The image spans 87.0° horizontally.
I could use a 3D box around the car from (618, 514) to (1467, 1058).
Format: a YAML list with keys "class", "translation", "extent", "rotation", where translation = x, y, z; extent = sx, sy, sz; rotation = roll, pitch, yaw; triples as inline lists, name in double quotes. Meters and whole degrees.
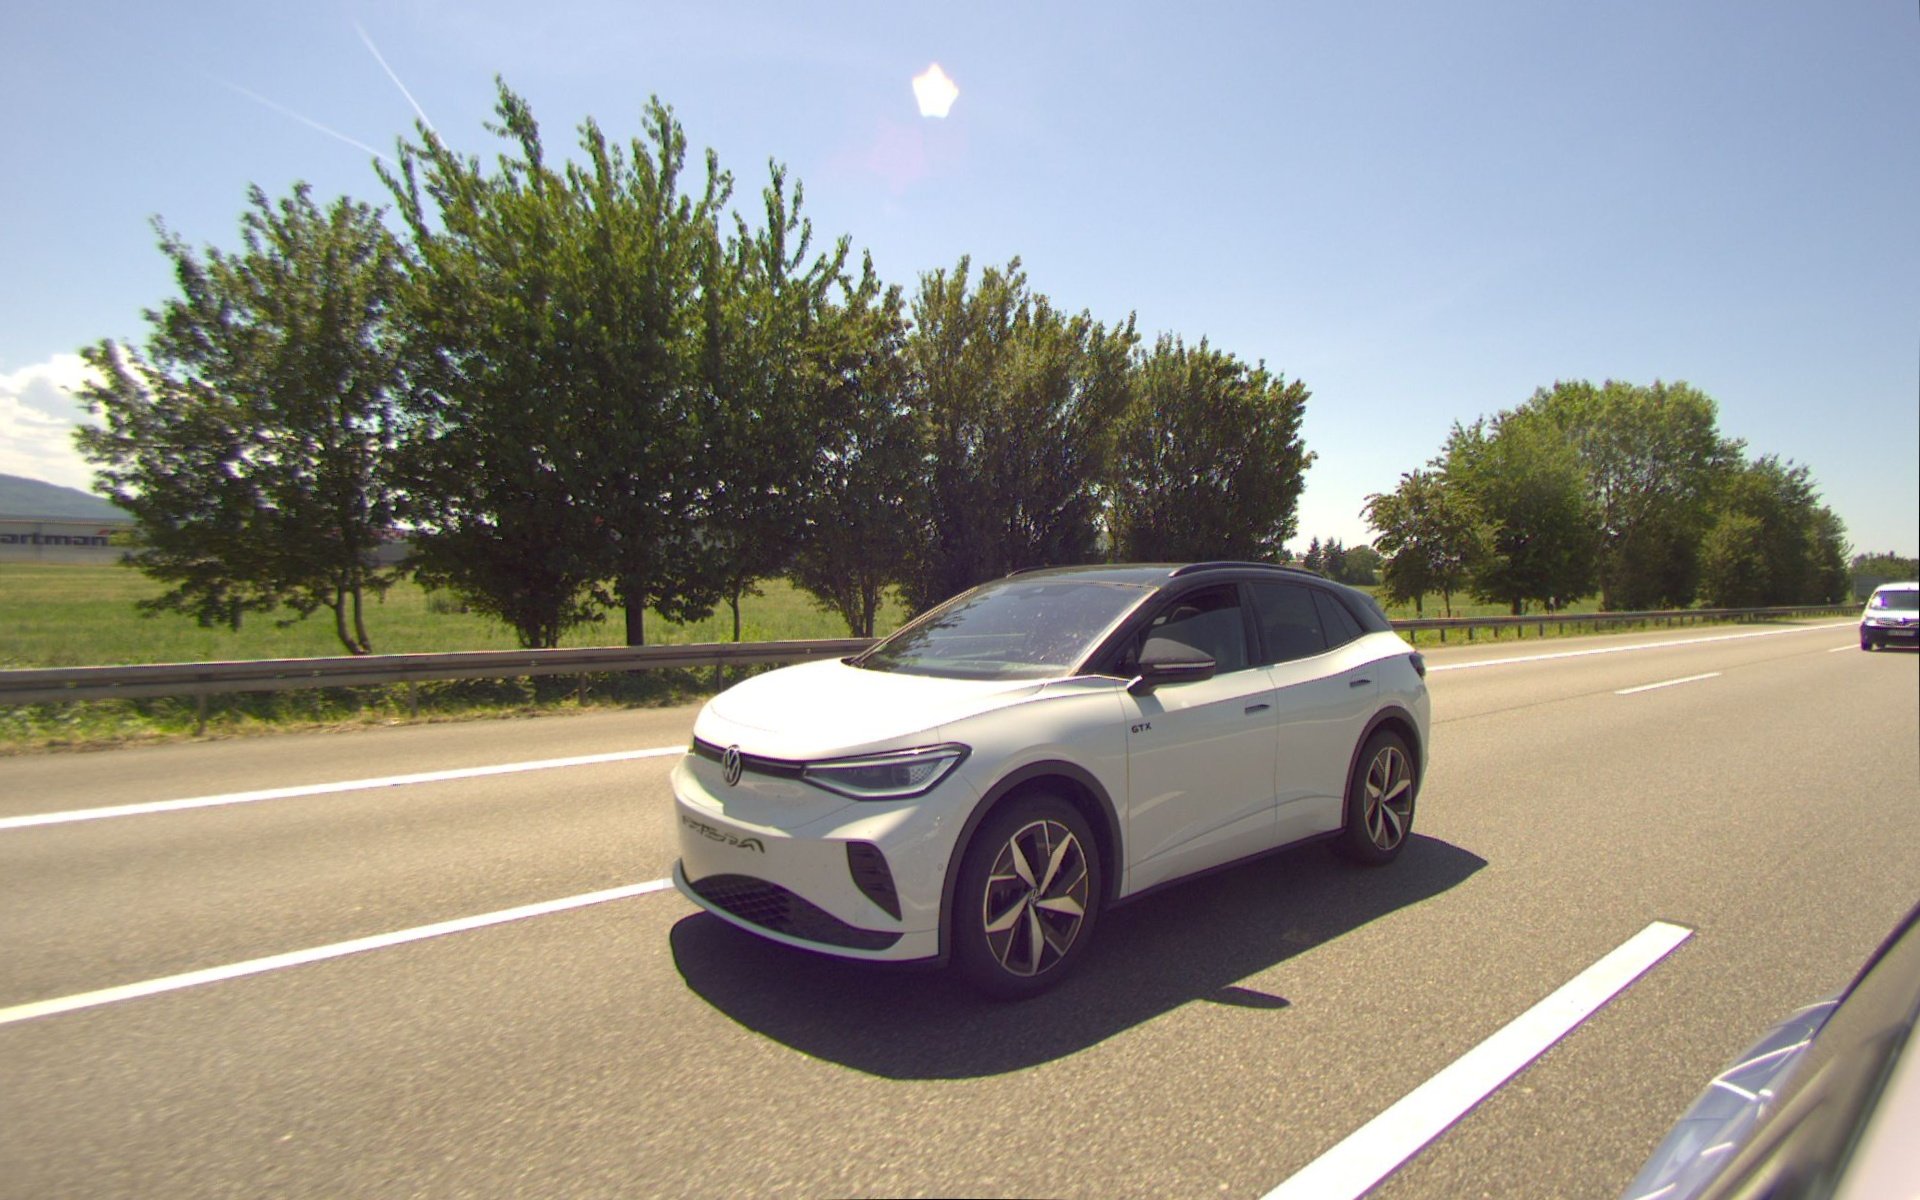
- class: "car"
  translation: [0.719, 0.543, 5.123]
  extent: [4.304, 1.623, 1.805]
  rotation: [0, 0, -41]

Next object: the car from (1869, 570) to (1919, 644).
- class: "car"
  translation: [26.005, 0.162, 27.254]
  extent: [4.622, 1.886, 1.855]
  rotation: [0, 0, -43]
